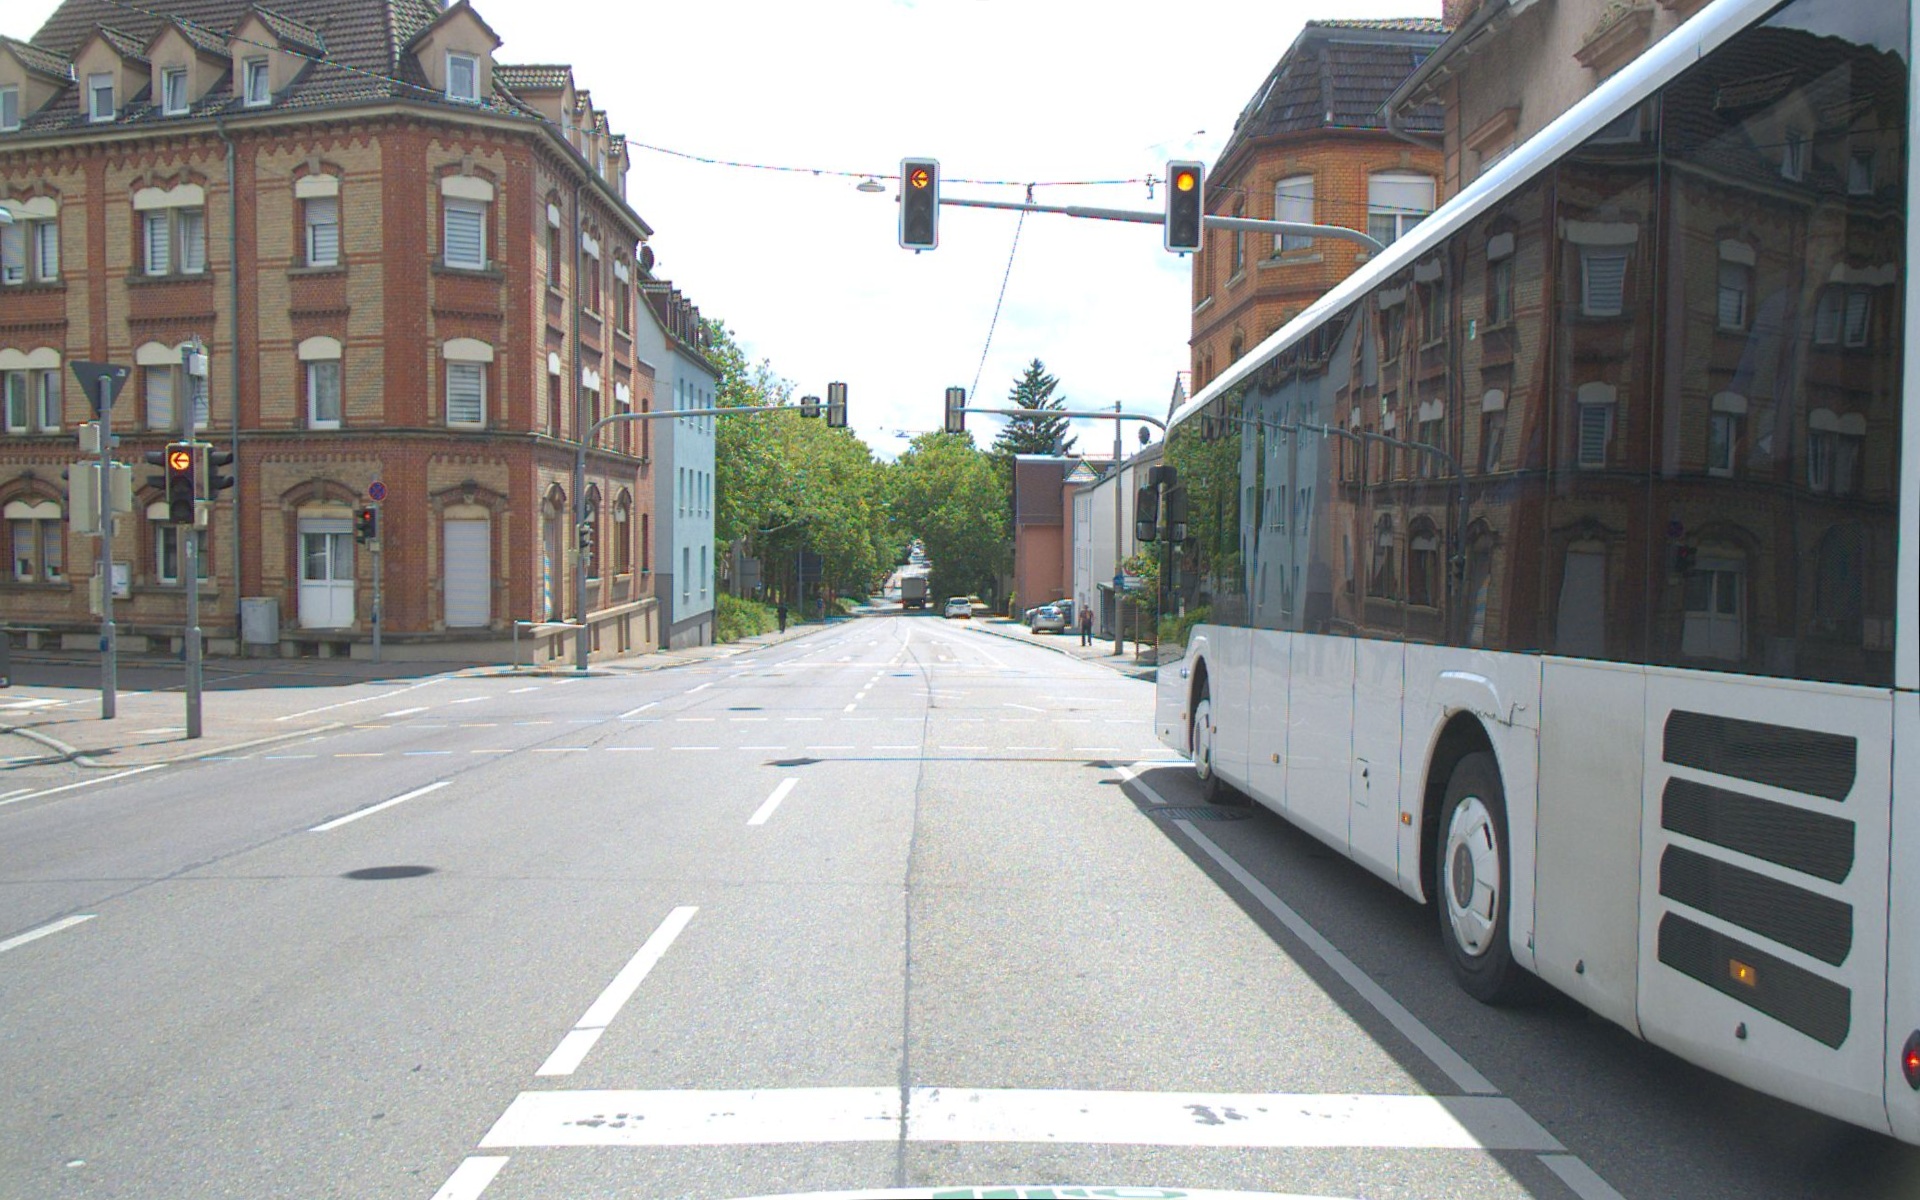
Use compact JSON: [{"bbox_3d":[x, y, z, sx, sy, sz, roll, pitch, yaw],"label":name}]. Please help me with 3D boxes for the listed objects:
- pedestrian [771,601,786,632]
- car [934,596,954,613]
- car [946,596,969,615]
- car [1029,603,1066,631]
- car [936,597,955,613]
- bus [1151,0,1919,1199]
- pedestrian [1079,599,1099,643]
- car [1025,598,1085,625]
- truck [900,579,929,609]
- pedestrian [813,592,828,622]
[{"bbox_3d":[-9.654,0.876,88.054,0.714,1.592,0.560,0,0,-2],"label":"pedestrian"},{"bbox_3d":[-1.403,0.399,146.212,1.757,1.434,4.418,1,0,0],"label":"car"},{"bbox_3d":[-0.185,0.450,129.432,1.758,1.434,3.999,1,0,-1],"label":"car"},{"bbox_3d":[4.913,0.942,93.126,1.758,1.434,3.999,-1,1,-2],"label":"car"},{"bbox_3d":[-1.333,0.508,153.899,1.757,1.434,4.418,1,0,0],"label":"car"},{"bbox_3d":[3.190,-0.168,9.294,2.618,3.211,12.459,0,0,-1],"label":"bus"},{"bbox_3d":[5.343,0.868,68.575,0.723,1.781,0.619,-1,0,-1],"label":"pedestrian"},{"bbox_3d":[6.488,0.774,113.252,3.909,1.788,1.998,-1,0,-6],"label":"car"},{"bbox_3d":[-4.939,-0.673,178.159,2.868,3.135,7.881,-1,0,-3],"label":"truck"},{"bbox_3d":[-9.923,0.491,117.435,0.974,2.049,1.188,0,0,-1],"label":"pedestrian"}]
